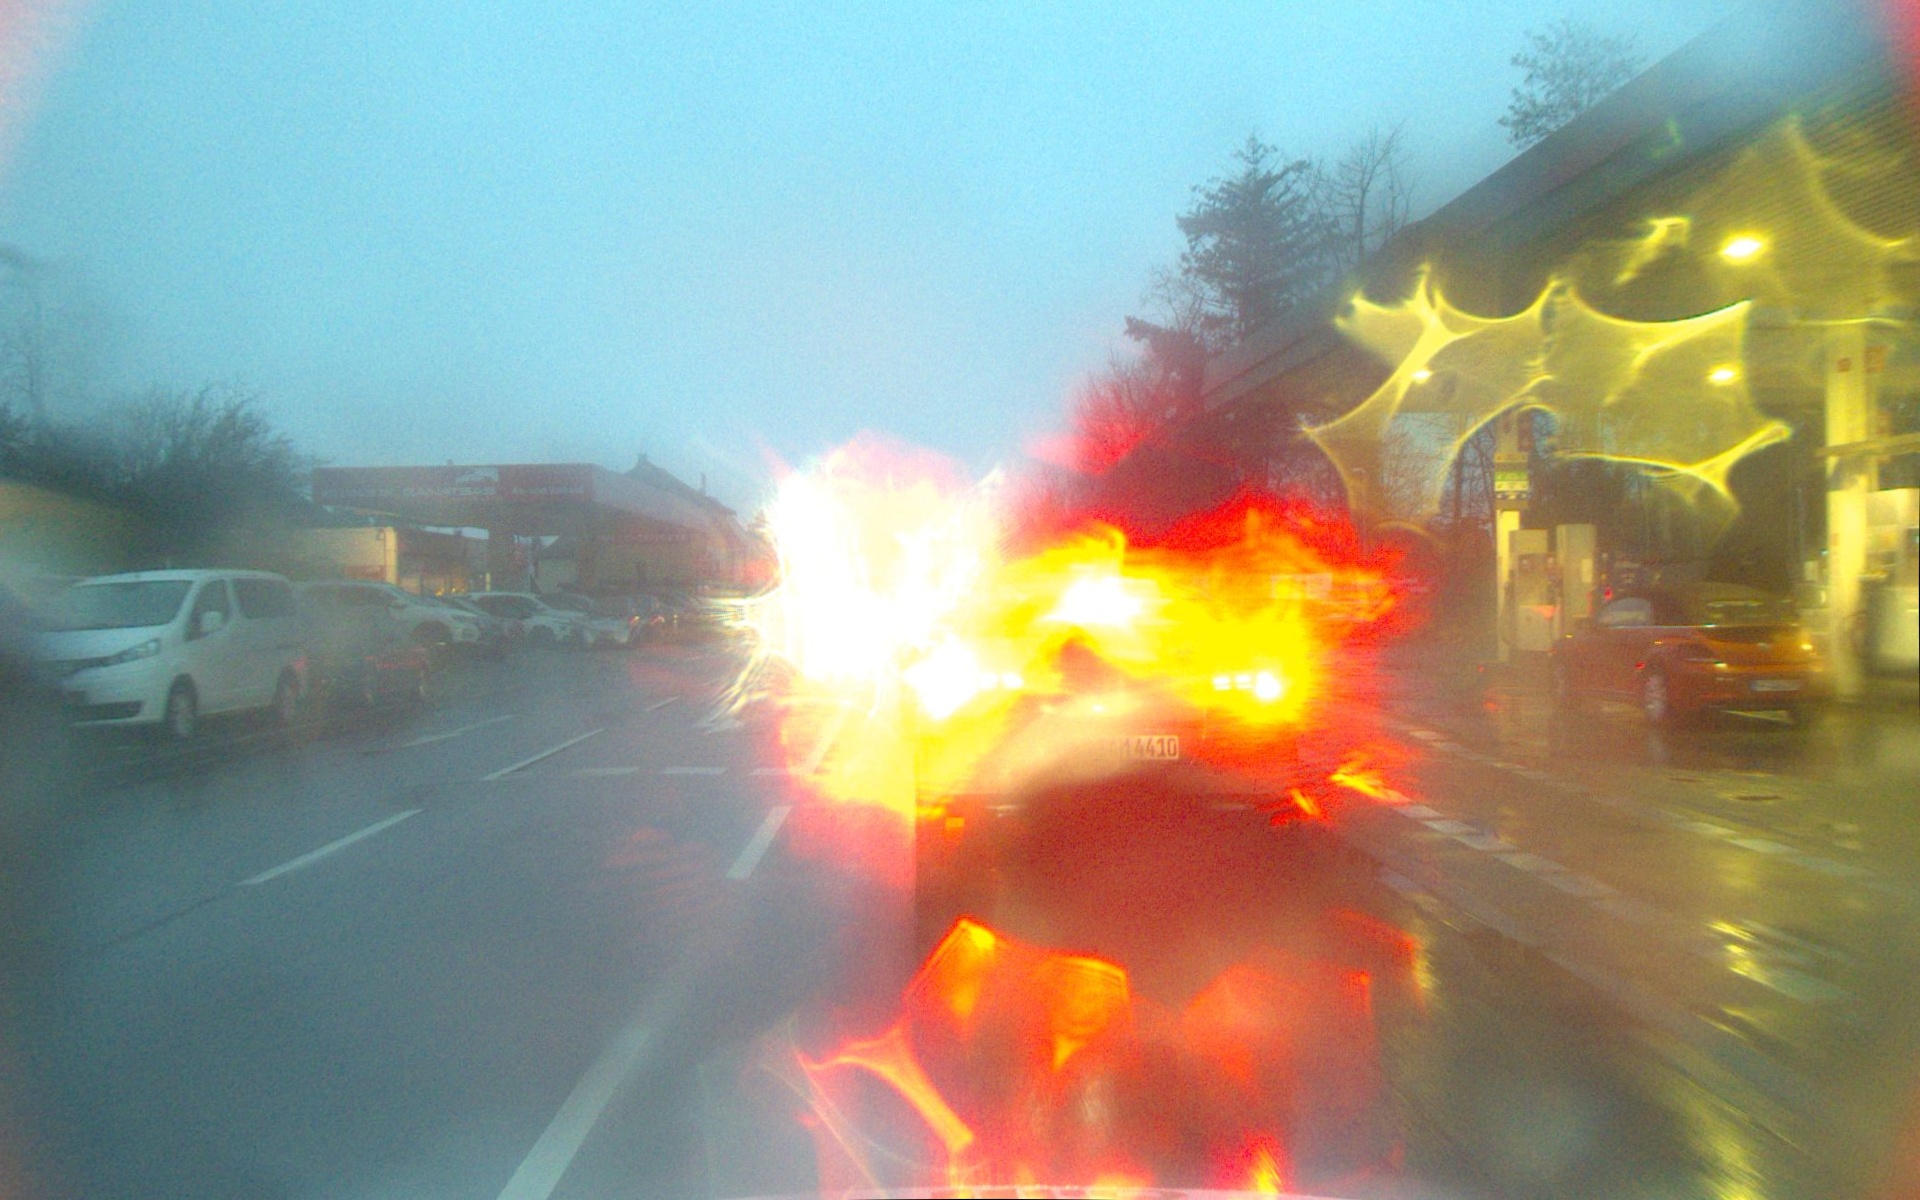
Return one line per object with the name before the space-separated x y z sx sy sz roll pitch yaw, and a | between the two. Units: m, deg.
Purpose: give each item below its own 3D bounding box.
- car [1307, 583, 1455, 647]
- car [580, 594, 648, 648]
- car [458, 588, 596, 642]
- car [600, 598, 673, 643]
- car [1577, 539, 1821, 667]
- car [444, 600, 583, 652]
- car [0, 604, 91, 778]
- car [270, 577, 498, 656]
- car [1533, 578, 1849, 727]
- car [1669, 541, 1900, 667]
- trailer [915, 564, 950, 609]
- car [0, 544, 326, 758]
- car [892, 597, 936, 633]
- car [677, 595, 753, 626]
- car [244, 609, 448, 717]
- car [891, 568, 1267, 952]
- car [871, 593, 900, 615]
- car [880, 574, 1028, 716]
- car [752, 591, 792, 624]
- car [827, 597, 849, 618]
car | 11.561 0.380 45.302 1.986 1.636 4.451 -1 0 44
car | -10.568 0.619 50.634 1.487 1.570 3.014 -2 0 -2
car | -14.122 0.492 54.126 3.964 1.679 1.941 -1 0 0
car | -10.722 0.657 55.008 1.648 1.445 3.740 -1 0 0
car | 12.080 0.046 27.368 1.953 1.892 4.297 -2 0 -2
car | -13.267 0.771 49.268 3.697 1.485 1.775 1 0 -4
car | -8.842 0.789 13.330 1.616 1.437 3.840 -1 1 0
car | -12.834 0.354 37.104 4.447 1.706 2.008 0 0 -6
car | 7.962 0.509 18.453 1.541 1.421 4.167 -2 0 -2
car | 14.353 0.065 29.052 1.953 2.049 3.998 0 0 -2
trailer | -2.144 -0.953 125.730 2.438 3.297 10.863 0 0 -2
car | -8.756 0.490 18.223 1.797 2.048 4.484 -1 0 0
car | -1.761 0.556 63.521 1.620 1.359 4.271 0 0 -1
car | -14.510 0.629 98.019 4.190 1.655 1.999 2 0 -2
car | -8.701 0.882 23.802 1.539 1.345 4.253 -2 -1 -4
car | 0.448 0.645 8.739 1.533 1.556 4.005 0 0 -1
car | -5.650 0.294 124.302 2.007 1.600 4.698 -2 0 -4
car | -0.113 0.505 21.072 1.673 1.603 4.463 -1 0 -1
car | -11.179 0.414 98.531 1.931 1.862 4.511 -2 0 -2
car | -9.515 0.547 129.212 1.571 1.561 3.998 -2 0 -2
